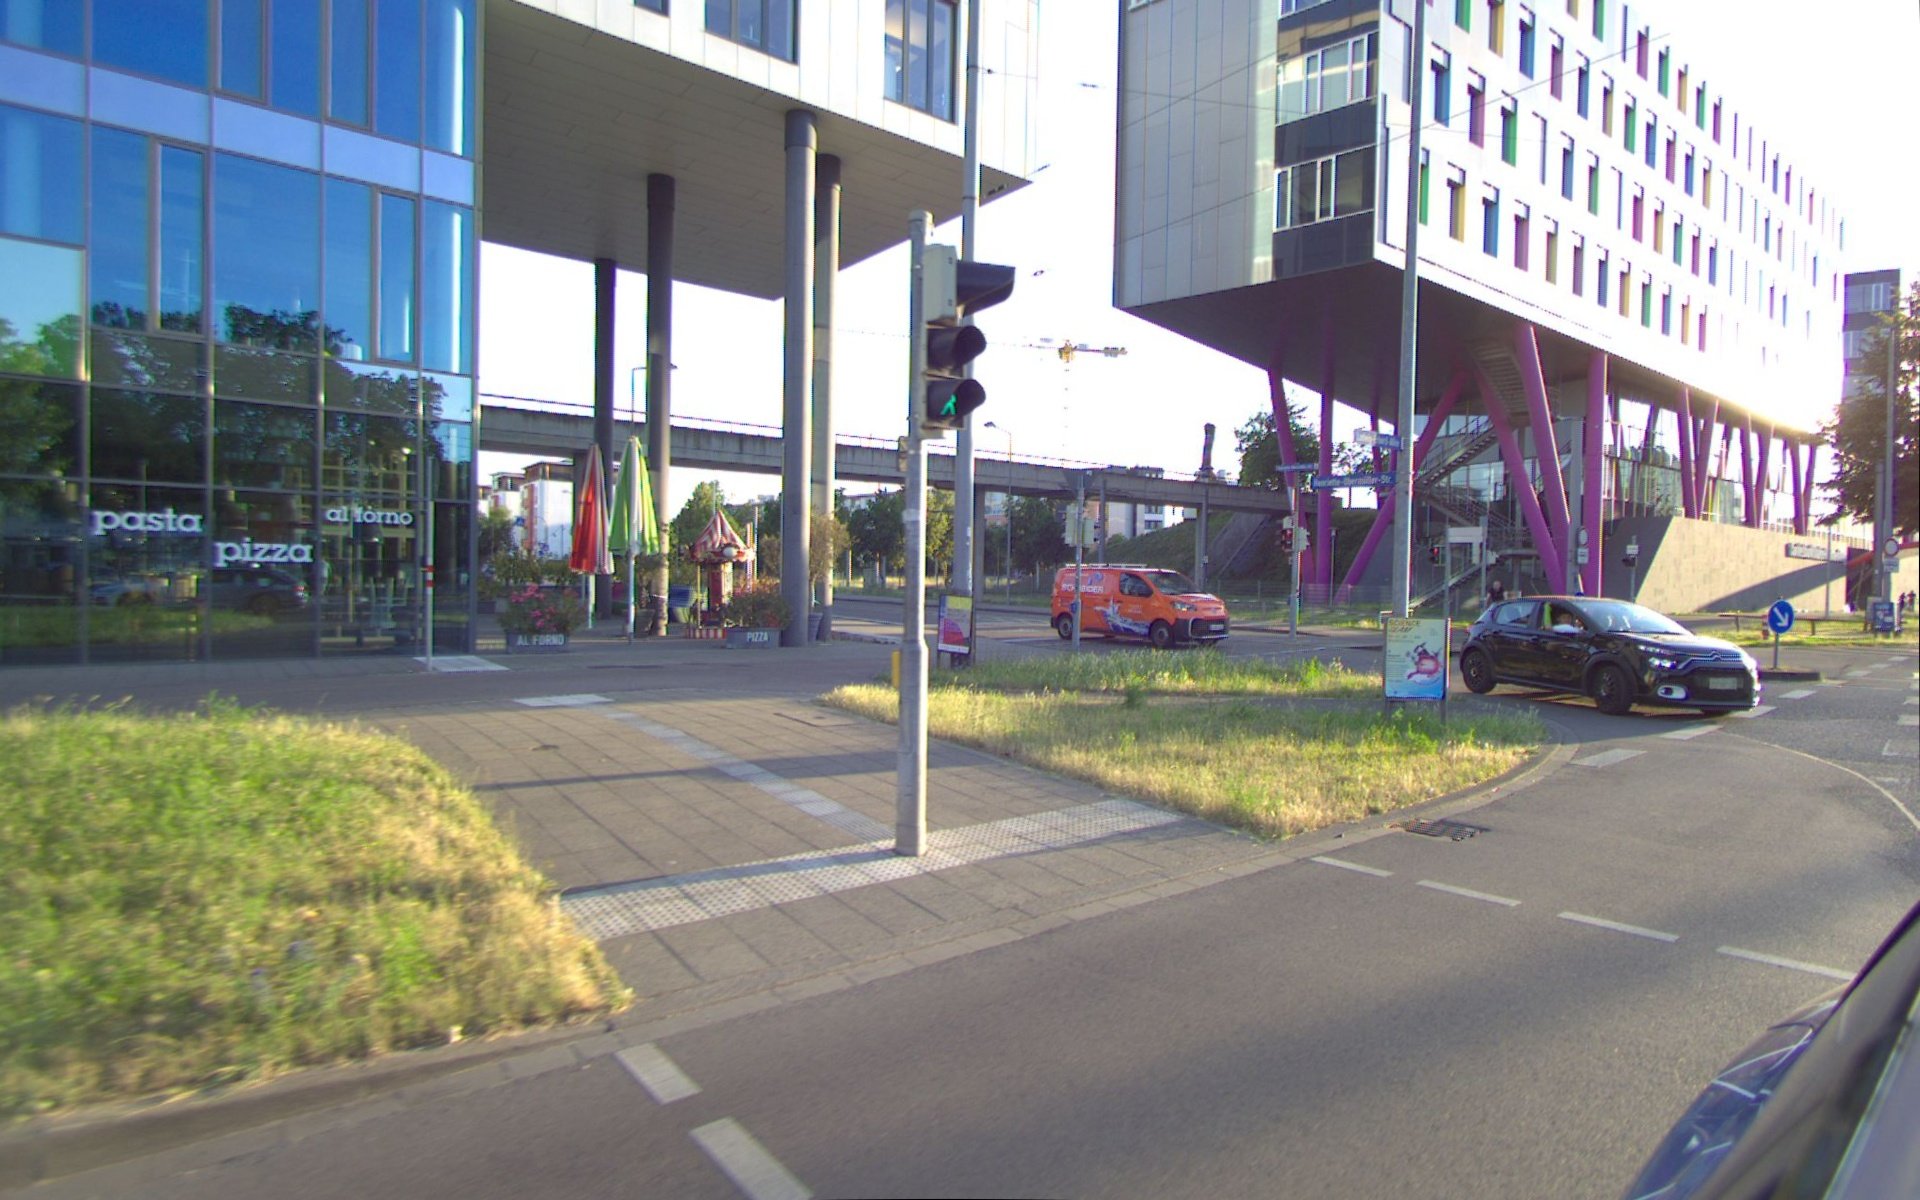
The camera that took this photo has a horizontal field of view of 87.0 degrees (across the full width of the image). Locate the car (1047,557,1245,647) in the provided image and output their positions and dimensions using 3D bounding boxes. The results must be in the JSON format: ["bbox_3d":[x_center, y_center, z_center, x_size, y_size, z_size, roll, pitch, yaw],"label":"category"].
[{"bbox_3d":[4.487,-0.057,25.144,1.897,2.015,4.820,-1,2,-37],"label":"car"}]

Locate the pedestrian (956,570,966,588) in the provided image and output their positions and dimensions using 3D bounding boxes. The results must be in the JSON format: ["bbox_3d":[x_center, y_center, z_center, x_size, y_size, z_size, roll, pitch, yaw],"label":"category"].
[{"bbox_3d":[0.064,-1.852,88.833,0.764,1.631,0.417,1,1,-25],"label":"pedestrian"}]

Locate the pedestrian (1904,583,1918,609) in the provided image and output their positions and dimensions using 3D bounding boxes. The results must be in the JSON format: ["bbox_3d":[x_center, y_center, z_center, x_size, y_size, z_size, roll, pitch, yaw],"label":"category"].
[{"bbox_3d":[75.926,-0.320,80.803,0.797,2.038,0.619,0,2,-38],"label":"pedestrian"}]

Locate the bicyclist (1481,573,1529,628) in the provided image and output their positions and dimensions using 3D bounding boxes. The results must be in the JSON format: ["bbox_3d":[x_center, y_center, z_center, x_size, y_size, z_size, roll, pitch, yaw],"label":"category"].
[{"bbox_3d":[16.858,0.020,31.280,1.264,1.653,0.807,0,1,-36],"label":"bicyclist"}]

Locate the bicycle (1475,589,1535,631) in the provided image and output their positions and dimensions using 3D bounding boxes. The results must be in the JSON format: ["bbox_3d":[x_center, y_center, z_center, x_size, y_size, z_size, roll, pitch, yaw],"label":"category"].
[{"bbox_3d":[16.859,0.294,31.285,2.070,1.222,0.743,0,1,-35],"label":"bicycle"}]

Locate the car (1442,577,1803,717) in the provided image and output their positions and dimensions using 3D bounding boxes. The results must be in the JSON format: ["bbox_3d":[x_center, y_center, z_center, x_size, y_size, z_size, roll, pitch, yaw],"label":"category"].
[{"bbox_3d":[8.684,0.511,13.774,1.724,1.571,4.080,1,2,-11],"label":"car"}]
